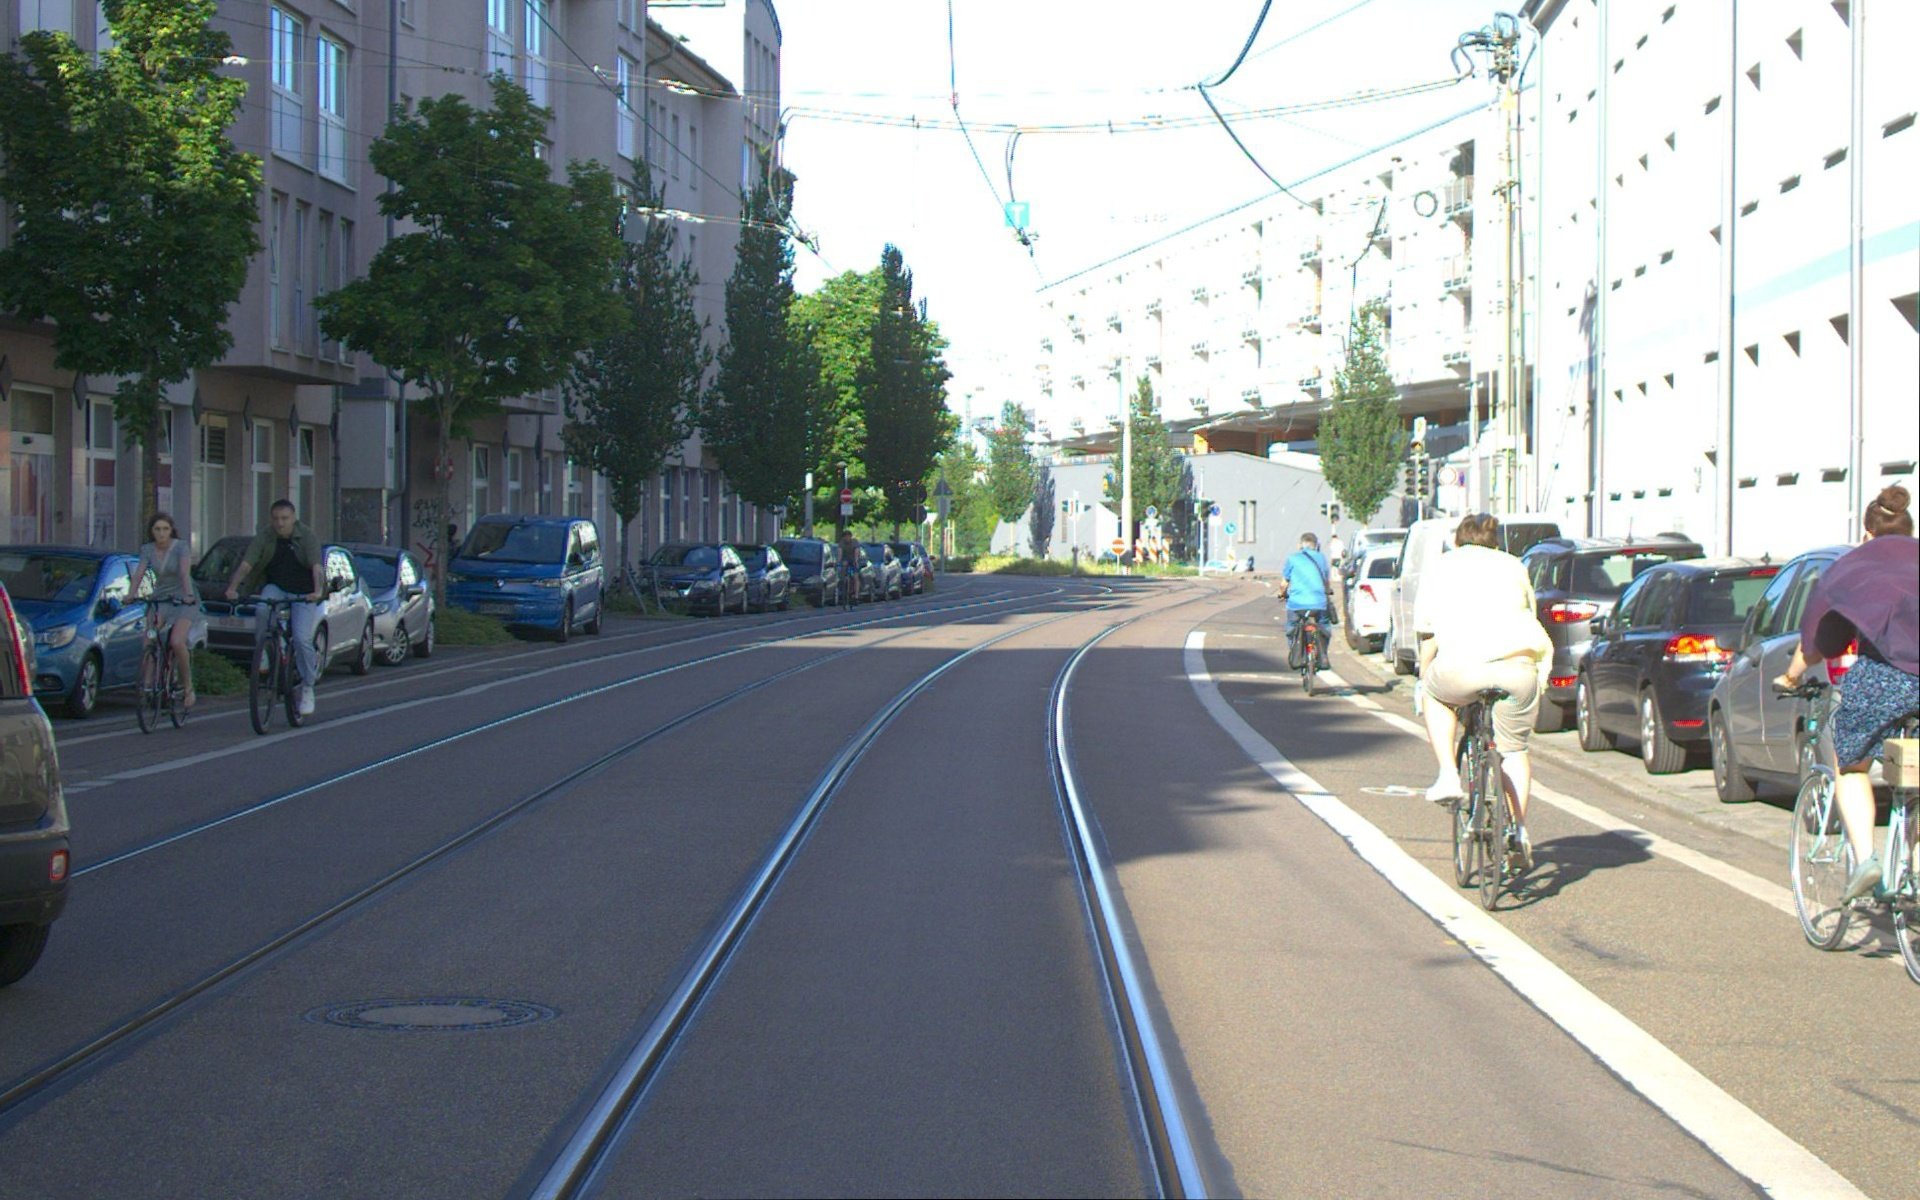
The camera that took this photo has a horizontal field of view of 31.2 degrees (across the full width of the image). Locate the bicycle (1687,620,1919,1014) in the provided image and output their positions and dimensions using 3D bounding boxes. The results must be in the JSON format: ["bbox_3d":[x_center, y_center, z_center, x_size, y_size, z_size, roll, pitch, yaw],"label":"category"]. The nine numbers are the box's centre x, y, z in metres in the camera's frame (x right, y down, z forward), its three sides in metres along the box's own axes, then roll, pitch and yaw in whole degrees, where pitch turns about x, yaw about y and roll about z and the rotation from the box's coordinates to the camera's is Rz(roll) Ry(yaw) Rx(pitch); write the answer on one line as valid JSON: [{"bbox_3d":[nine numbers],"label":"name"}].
[{"bbox_3d":[3.356,0.734,12.604,0.821,1.232,2.462,2,1,0],"label":"bicycle"}]

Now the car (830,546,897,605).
[{"bbox_3d":[-2.563,-0.670,91.716,1.591,1.535,3.191,0,1,2],"label":"car"}]

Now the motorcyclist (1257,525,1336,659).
[{"bbox_3d":[3.566,-0.093,36.457,0.727,1.401,1.021,0,1,0],"label":"motorcyclist"}]

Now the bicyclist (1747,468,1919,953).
[{"bbox_3d":[3.412,0.373,12.328,0.934,1.670,0.969,0,1,0],"label":"bicyclist"}]

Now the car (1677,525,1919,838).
[{"bbox_3d":[5.412,0.380,19.941,1.754,1.565,3.904,-3,1,2],"label":"car"}]

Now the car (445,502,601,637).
[{"bbox_3d":[-6.705,-0.498,53.155,1.665,1.980,4.343,0,1,3],"label":"car"}]

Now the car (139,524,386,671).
[{"bbox_3d":[-7.908,-0.070,39.307,1.830,1.588,4.000,0,1,3],"label":"car"}]

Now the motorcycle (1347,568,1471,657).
[{"bbox_3d":[5.935,0.153,45.521,0.490,1.140,1.770,0,1,-39],"label":"motorcycle"}]

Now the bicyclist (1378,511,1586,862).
[{"bbox_3d":[2.239,0.350,14.842,0.727,1.457,1.021,0,1,0],"label":"bicyclist"}]

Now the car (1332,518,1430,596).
[{"bbox_3d":[9.710,-1.011,79.560,1.844,1.750,4.548,0,1,2],"label":"car"}]

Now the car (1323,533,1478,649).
[{"bbox_3d":[6.541,-0.172,51.447,1.844,1.640,4.548,0,1,2],"label":"car"}]

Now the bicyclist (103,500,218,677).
[{"bbox_3d":[-6.482,-0.099,27.899,0.623,1.376,0.868,-4,1,1],"label":"bicyclist"}]

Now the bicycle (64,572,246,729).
[{"bbox_3d":[-6.499,0.384,27.879,0.839,1.145,2.233,-4,1,1],"label":"bicycle"}]

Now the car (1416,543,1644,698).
[{"bbox_3d":[5.757,0.163,35.129,1.796,1.478,3.778,0,1,2],"label":"car"}]

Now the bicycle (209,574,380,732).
[{"bbox_3d":[-5.342,0.402,27.729,0.839,1.145,2.233,-4,1,1],"label":"bicycle"}]

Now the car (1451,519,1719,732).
[{"bbox_3d":[5.397,0.168,30.104,1.660,1.664,3.904,-3,1,2],"label":"car"}]

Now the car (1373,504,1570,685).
[{"bbox_3d":[5.906,-0.105,40.067,1.786,1.964,4.154,-1,1,2],"label":"car"}]

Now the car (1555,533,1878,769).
[{"bbox_3d":[5.433,0.307,25.109,1.591,1.532,4.007,-2,1,2],"label":"car"}]

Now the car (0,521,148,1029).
[{"bbox_3d":[-4.427,0.493,11.163,3.482,1.527,1.558,1,2,35],"label":"car"}]

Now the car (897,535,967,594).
[{"bbox_3d":[-0.775,-1.036,97.742,1.844,1.640,3.697,0,1,2],"label":"car"}]

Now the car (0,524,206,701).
[{"bbox_3d":[-8.260,0.079,31.323,1.830,1.484,4.000,-2,1,1],"label":"car"}]

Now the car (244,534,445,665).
[{"bbox_3d":[-7.851,-0.045,44.168,1.830,1.588,4.000,0,1,1],"label":"car"}]

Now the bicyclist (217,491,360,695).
[{"bbox_3d":[-5.351,-0.062,27.451,0.882,1.556,0.868,-3,1,1],"label":"bicyclist"}]

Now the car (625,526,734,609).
[{"bbox_3d":[-5.601,-0.672,68.939,1.665,1.612,4.000,1,1,3],"label":"car"}]
